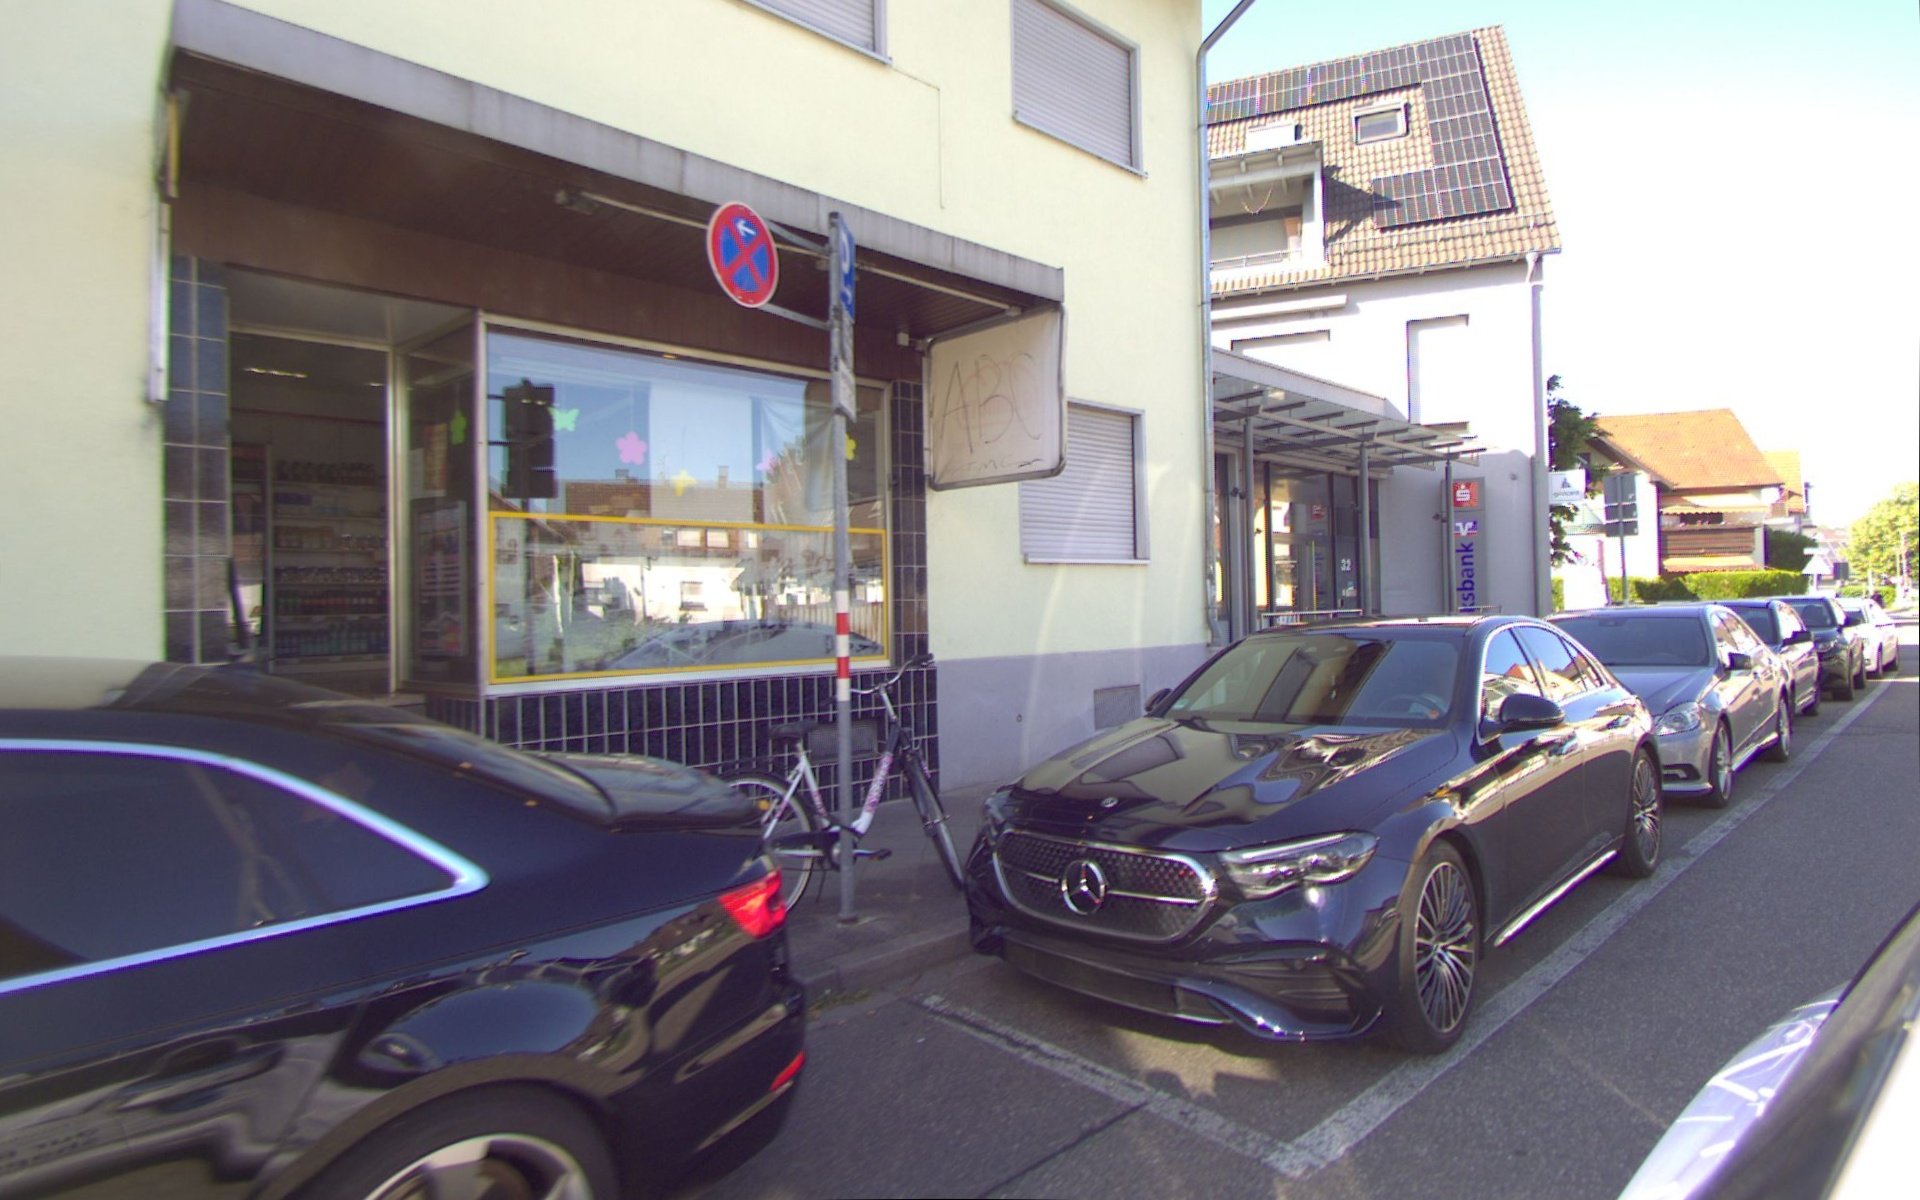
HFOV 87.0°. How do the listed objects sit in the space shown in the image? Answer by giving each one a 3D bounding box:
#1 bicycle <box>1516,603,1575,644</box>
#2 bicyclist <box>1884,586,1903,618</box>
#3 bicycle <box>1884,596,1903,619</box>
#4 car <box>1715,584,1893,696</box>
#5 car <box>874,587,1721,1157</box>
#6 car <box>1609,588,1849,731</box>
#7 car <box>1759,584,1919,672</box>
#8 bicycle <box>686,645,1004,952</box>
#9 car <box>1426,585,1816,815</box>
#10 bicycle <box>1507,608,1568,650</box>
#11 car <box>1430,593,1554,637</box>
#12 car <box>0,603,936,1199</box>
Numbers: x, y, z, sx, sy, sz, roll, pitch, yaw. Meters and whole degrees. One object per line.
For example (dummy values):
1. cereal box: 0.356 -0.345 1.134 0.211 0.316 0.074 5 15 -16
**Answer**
1. bicycle: 13.620 0.546 23.574 0.307 0.931 1.166 0 0 -35
2. bicyclist: 50.055 0.094 54.266 0.595 1.686 0.642 0 -2 -45
3. bicycle: 49.986 0.385 54.196 0.638 1.197 1.989 -2 -1 45
4. car: 13.235 0.562 15.794 3.905 1.540 1.611 0 -2 -43
5. car: 2.032 0.727 4.959 4.761 1.494 1.810 -1 -2 -42
6. car: 9.647 0.642 12.591 3.810 1.494 1.726 0 -2 -43
7. car: 17.311 0.488 19.798 4.428 1.533 1.848 0 -1 -41
8. bicycle: -0.502 0.842 4.815 1.481 1.172 0.508 0 1 -41
9. car: 5.890 0.668 8.775 4.370 1.494 1.809 -1 -2 -43
10. bicycle: 13.116 0.650 22.998 0.307 0.931 1.166 0 0 -35
11. car: 21.047 0.563 40.080 4.271 1.612 1.794 0 1 32
12. car: -2.431 0.805 1.490 4.761 1.494 1.810 -1 -2 -42
